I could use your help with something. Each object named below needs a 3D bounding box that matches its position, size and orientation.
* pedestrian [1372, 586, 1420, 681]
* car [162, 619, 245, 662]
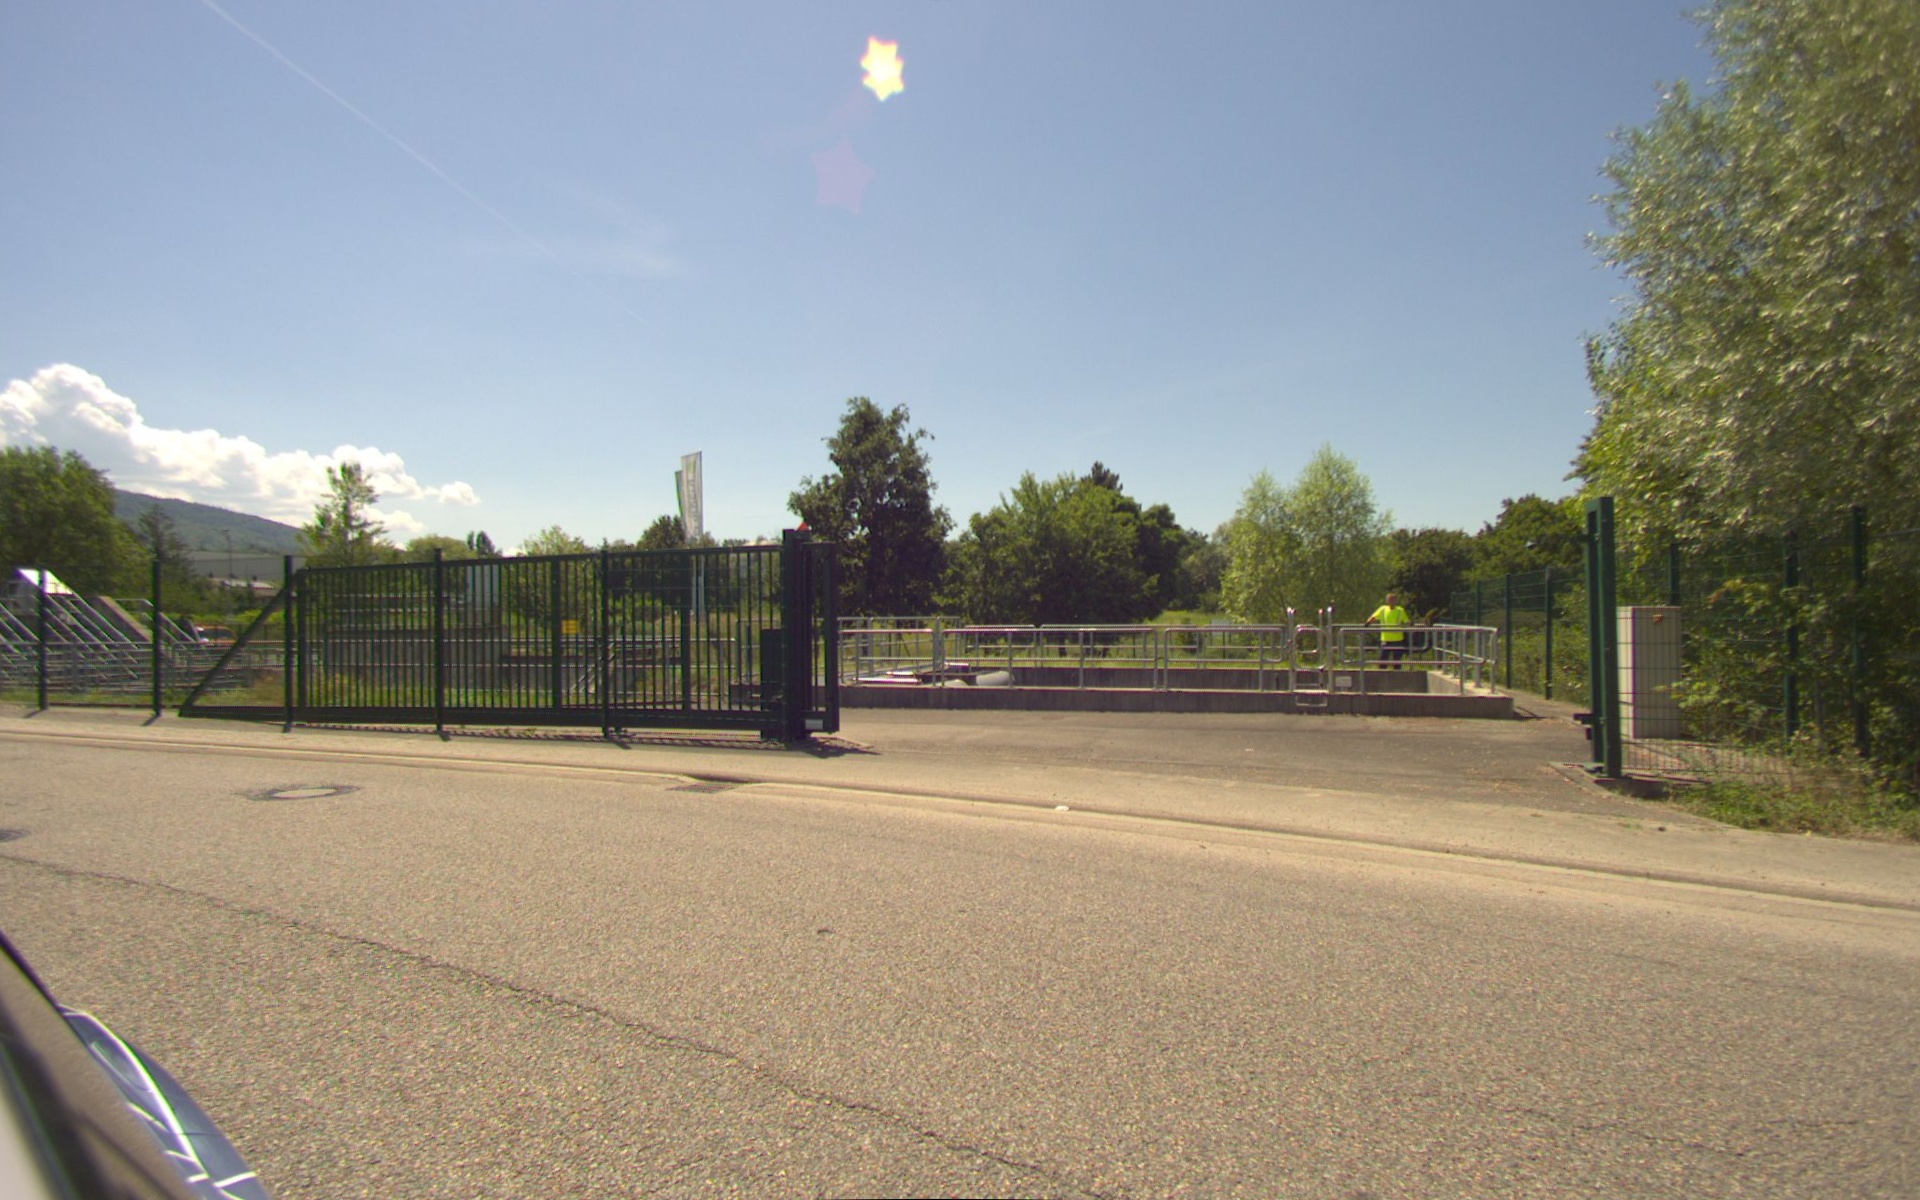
[{"bbox_3d":[8.652,0.667,20.111,0.798,1.853,0.604,0,-2,18],"label":"pedestrian"},{"bbox_3d":[-37.879,2.022,50.635,4.855,2.029,1.975,-1,-5,37],"label":"car"}]
